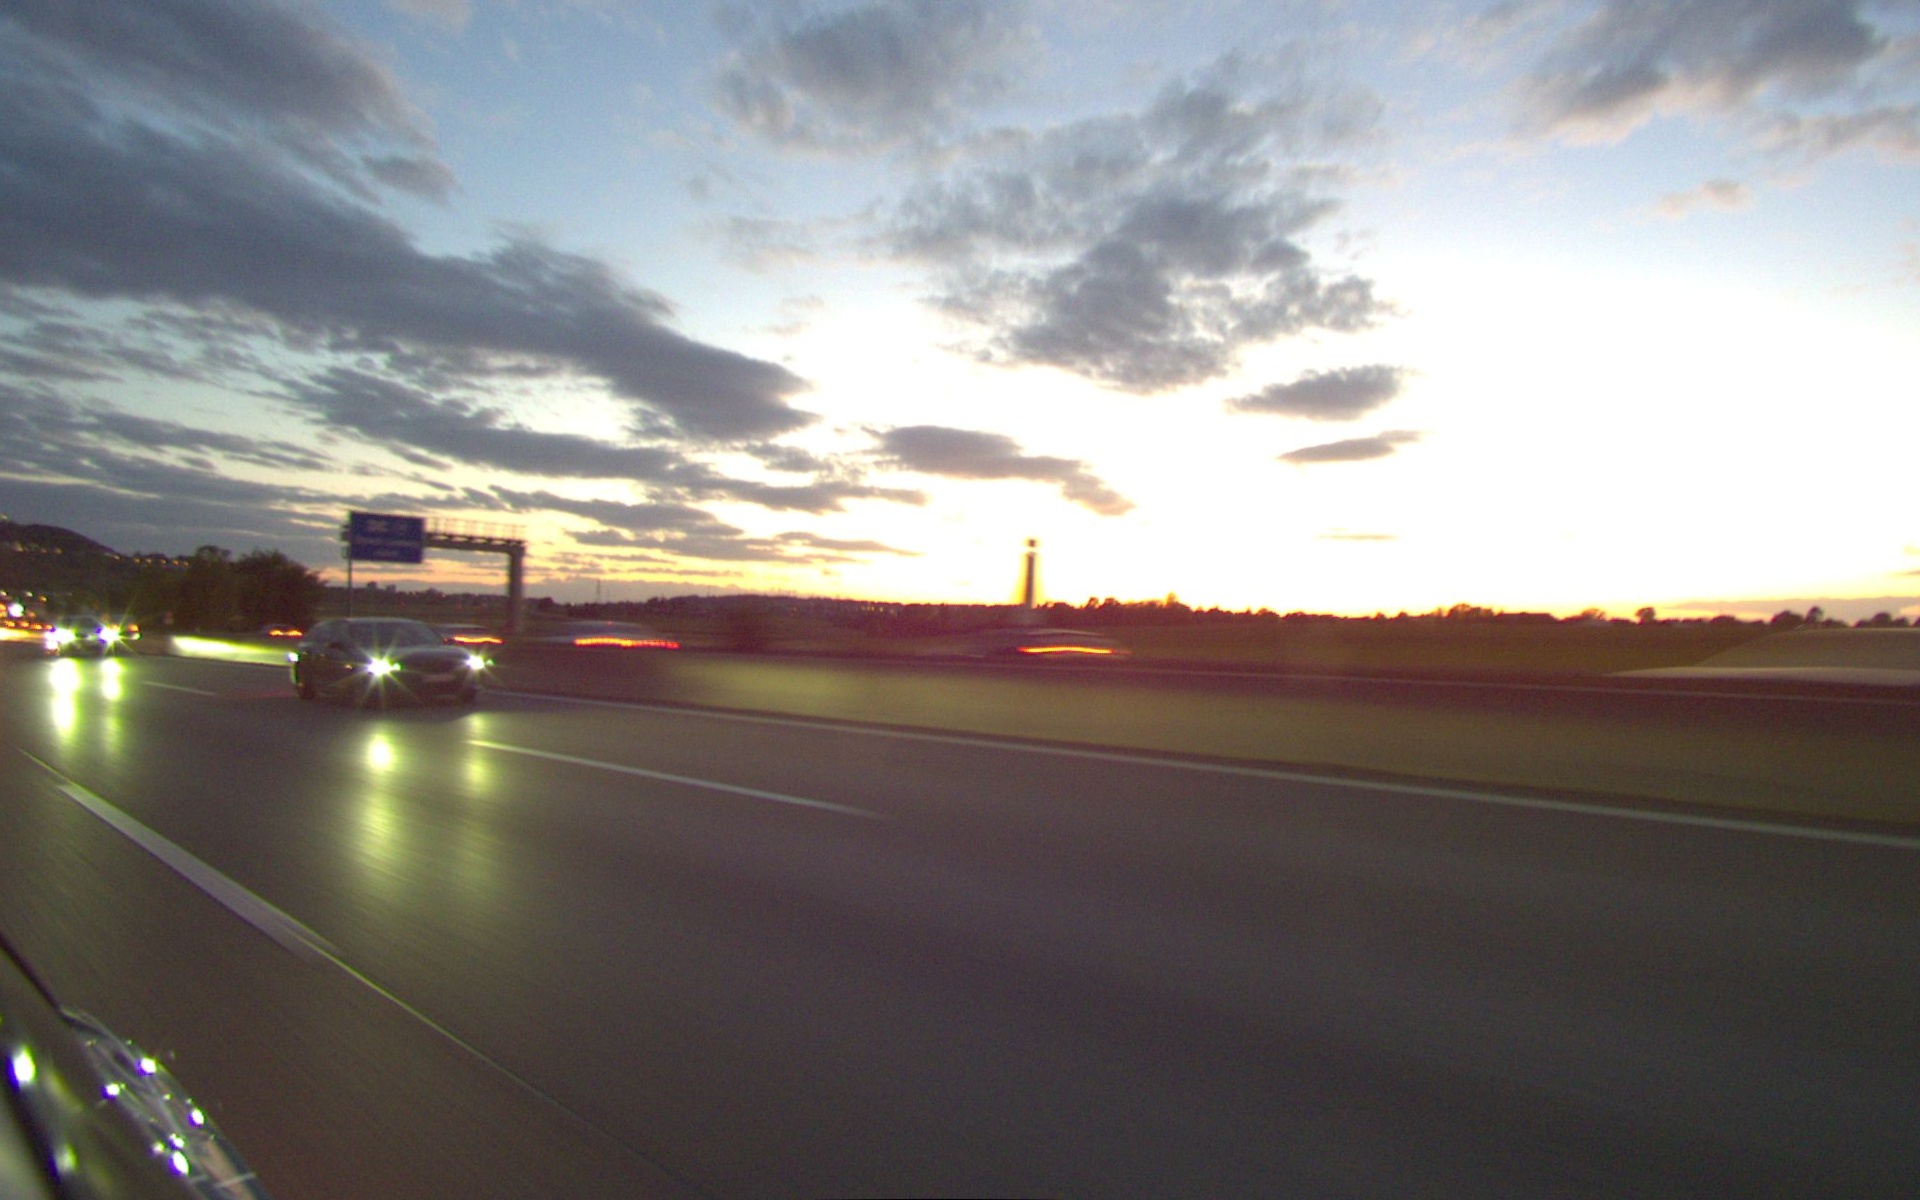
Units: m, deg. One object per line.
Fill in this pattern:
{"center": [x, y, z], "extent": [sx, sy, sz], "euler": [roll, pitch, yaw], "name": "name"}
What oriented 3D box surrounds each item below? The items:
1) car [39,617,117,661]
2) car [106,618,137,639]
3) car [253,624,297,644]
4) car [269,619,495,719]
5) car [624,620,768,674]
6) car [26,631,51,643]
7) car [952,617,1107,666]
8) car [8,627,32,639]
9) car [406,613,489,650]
{"center": [-36.364, 1.568, 41.673], "extent": [4.854, 1.660, 1.795], "euler": [-1, 0, 41], "name": "car"}
{"center": [-96.968, 3.258, 117.017], "extent": [5.834, 2.406, 1.972], "euler": [-1, 0, 42], "name": "car"}
{"center": [-51.382, 2.526, 75.856], "extent": [4.550, 1.329, 1.717], "euler": [-1, 0, 42], "name": "car"}
{"center": [-10.306, 1.092, 17.828], "extent": [5.392, 1.448, 1.795], "euler": [-1, 0, 41], "name": "car"}
{"center": [-6.865, 1.159, 26.145], "extent": [3.998, 1.227, 1.648], "euler": [-1, 0, 41], "name": "car"}
{"center": [-120.626, 4.846, 132.453], "extent": [4.657, 1.423, 1.972], "euler": [-1, 0, 42], "name": "car"}
{"center": [1.822, 1.074, 27.223], "extent": [3.998, 1.189, 1.648], "euler": [-1, 0, 41], "name": "car"}
{"center": [-110.761, 3.884, 119.257], "extent": [3.899, 1.380, 1.714], "euler": [-1, 0, 42], "name": "car"}
{"center": [-23.063, 1.381, 45.493], "extent": [4.885, 1.534, 1.642], "euler": [-1, 0, 41], "name": "car"}
